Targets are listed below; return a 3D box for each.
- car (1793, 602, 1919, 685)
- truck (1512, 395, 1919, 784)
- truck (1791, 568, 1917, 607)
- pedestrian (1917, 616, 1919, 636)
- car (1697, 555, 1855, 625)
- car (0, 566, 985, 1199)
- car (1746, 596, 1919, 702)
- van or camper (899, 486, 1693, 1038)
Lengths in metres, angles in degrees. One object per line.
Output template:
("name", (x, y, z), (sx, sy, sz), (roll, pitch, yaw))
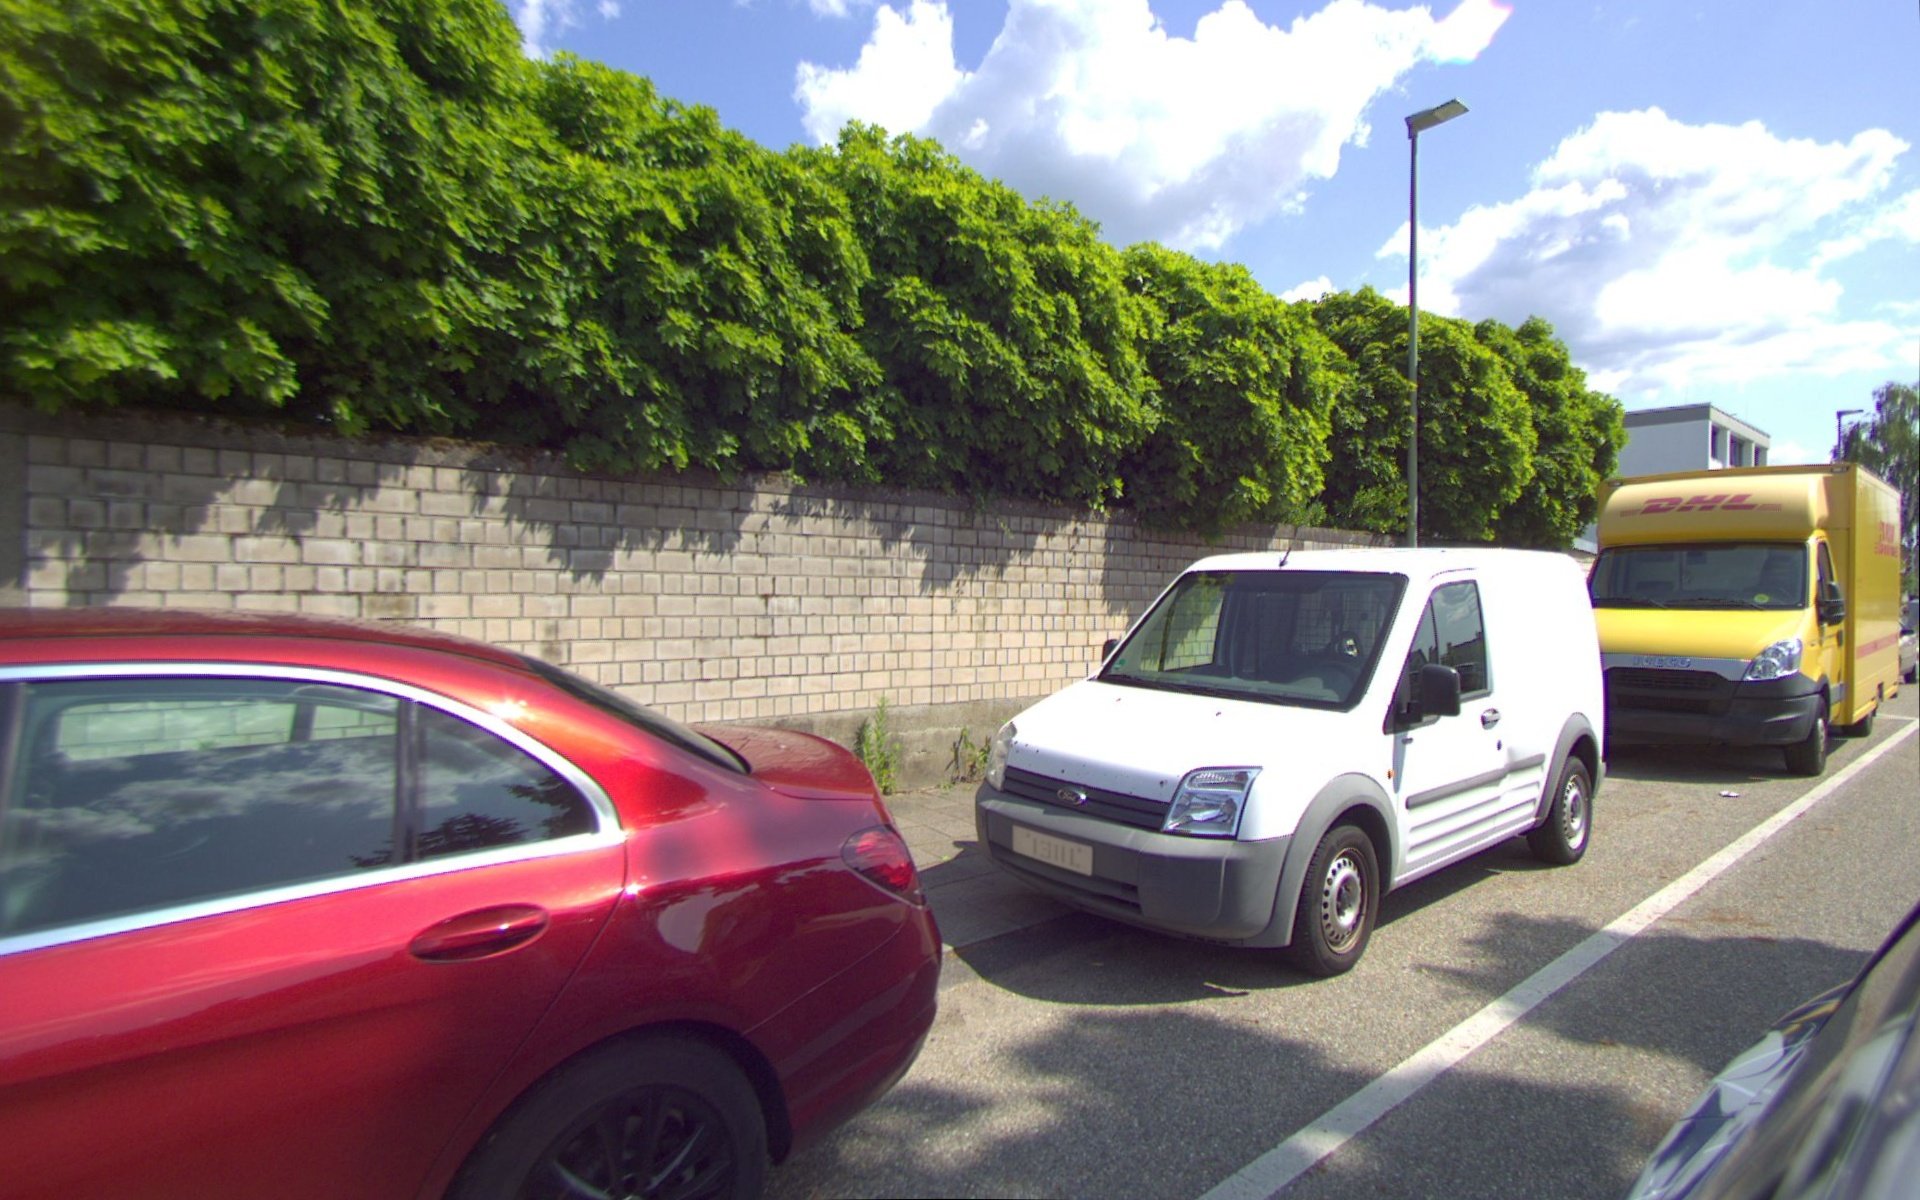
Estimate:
("car", (17.431, 0.746, 19.292), (4.344, 1.404, 1.655), (0, 0, -41))
("truck", (8.686, -0.082, 11.051), (7.065, 2.977, 2.477), (0, -1, -42))
("truck", (61.876, -0.866, 70.218), (5.992, 2.610, 2.546), (0, 0, 24))
("pedestrian", (34.941, 0.485, 36.293), (0.514, 1.717, 0.716), (0, 6, -45))
("car", (33.202, -0.438, 41.264), (4.904, 2.685, 2.042), (1, 1, 42))
("car", (-2.243, 0.684, 1.616), (4.683, 1.460, 1.684), (0, 0, -41))
("car", (13.899, 0.680, 15.995), (4.210, 1.459, 1.664), (0, -1, -43))
("van or camper", (2.362, 0.523, 5.817), (5.488, 1.828, 1.762), (0, 0, -40))
